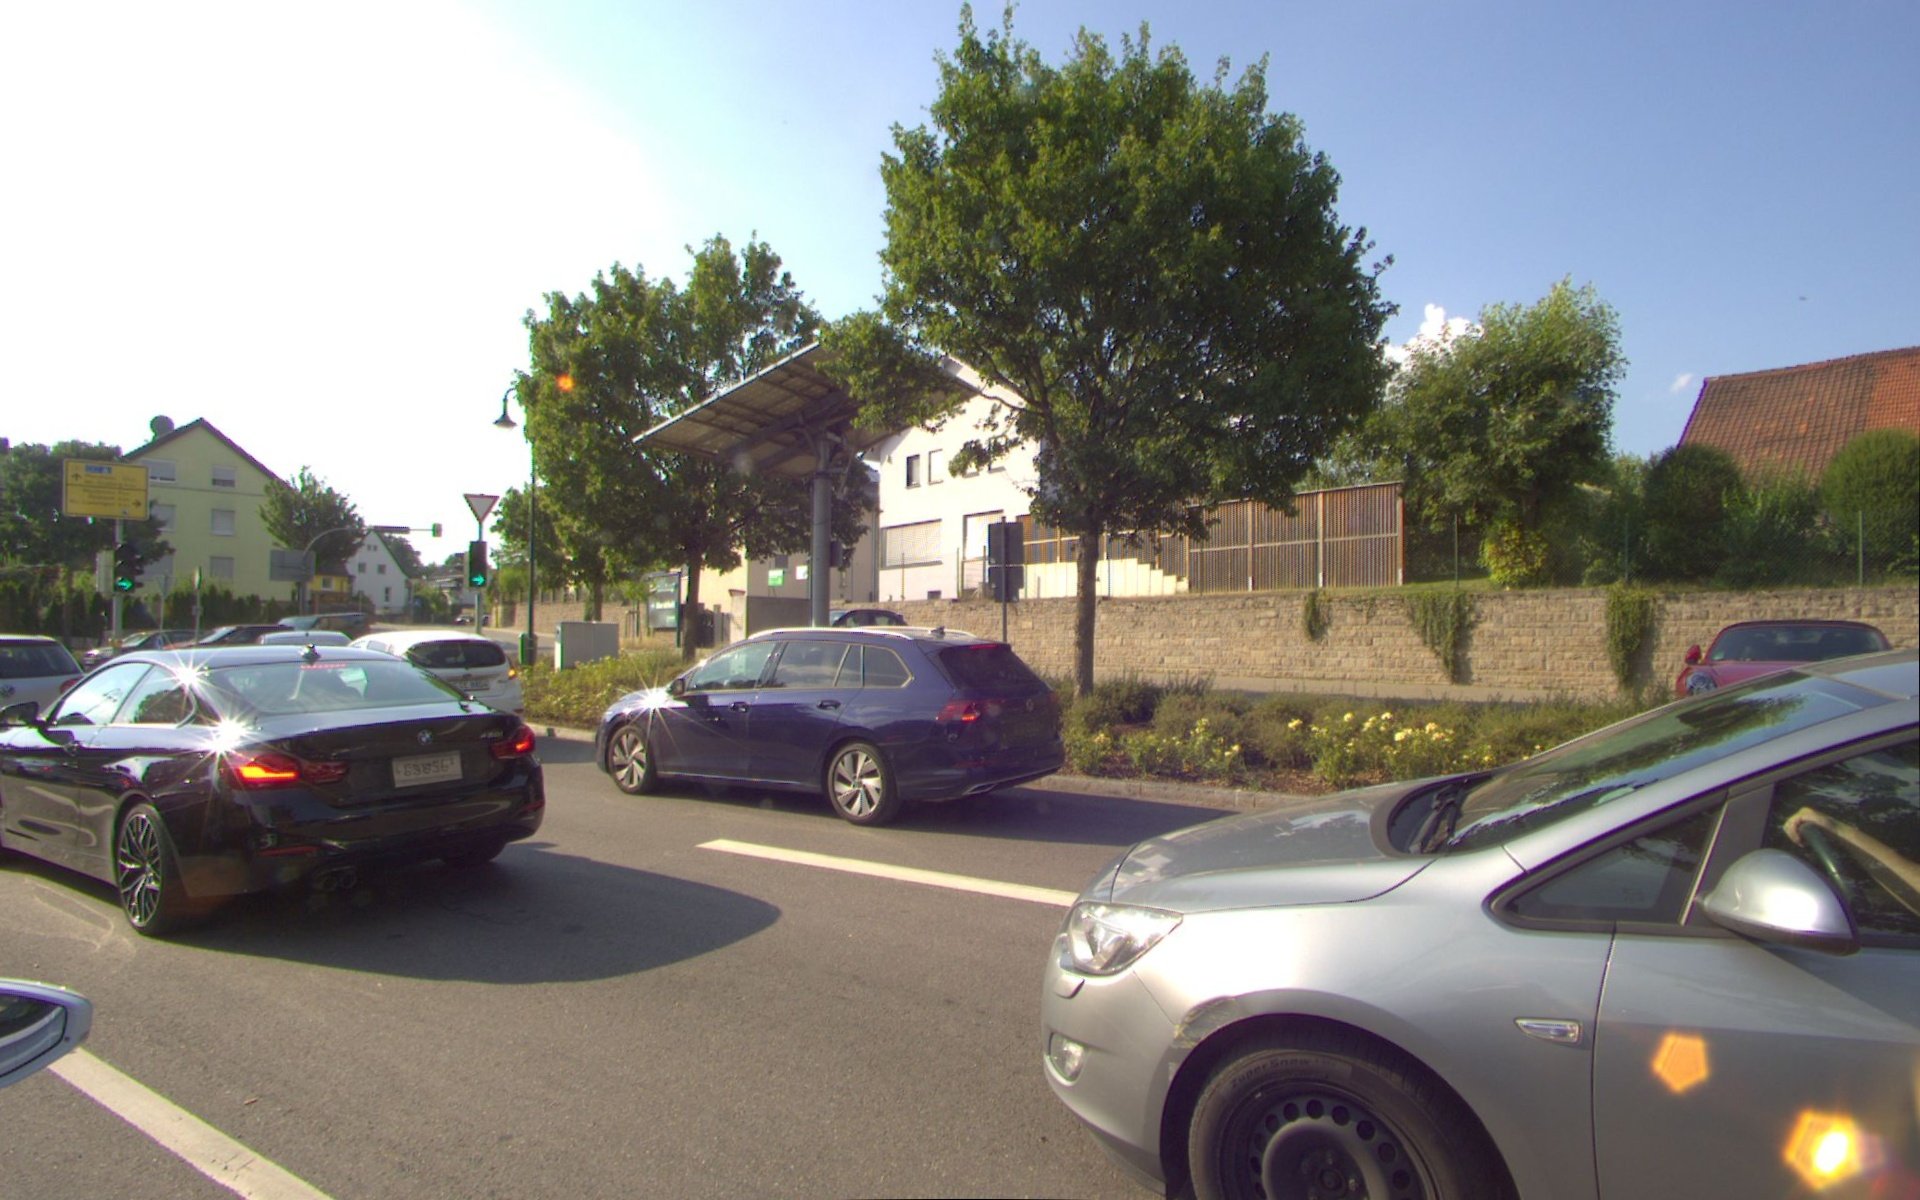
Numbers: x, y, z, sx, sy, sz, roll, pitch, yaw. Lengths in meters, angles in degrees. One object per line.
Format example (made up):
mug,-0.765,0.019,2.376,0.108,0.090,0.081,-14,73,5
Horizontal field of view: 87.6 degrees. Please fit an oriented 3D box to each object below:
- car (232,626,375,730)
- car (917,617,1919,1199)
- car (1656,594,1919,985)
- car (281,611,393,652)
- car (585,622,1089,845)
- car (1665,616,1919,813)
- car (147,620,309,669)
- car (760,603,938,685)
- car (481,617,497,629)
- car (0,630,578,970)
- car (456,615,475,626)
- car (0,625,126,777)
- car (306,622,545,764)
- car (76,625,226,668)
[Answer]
car,-11.782,1.271,17.842,1.643,1.562,4.362,-1,0,-40
car,2.159,0.783,2.171,4.256,1.472,1.758,-1,0,31
car,5.633,0.771,4.114,4.503,1.630,1.757,-1,0,34
car,-28.122,1.421,45.406,1.812,1.761,4.786,0,-2,4
car,-1.186,0.948,8.696,4.259,1.472,1.757,-1,0,34
car,8.211,0.951,9.755,1.758,1.510,4.120,-1,-2,41
car,-26.501,1.594,36.420,1.818,1.662,4.418,0,-2,25
car,-2.392,0.958,22.308,1.758,1.653,3.800,-1,-2,40
car,-67.927,3.321,144.425,1.939,1.701,4.202,0,-1,-23
car,-4.449,0.915,6.196,4.220,1.416,1.758,-1,0,33
car,-73.491,3.061,148.872,1.937,1.701,4.207,0,-1,-18
car,-10.820,1.012,10.789,3.848,1.444,1.758,-1,0,33
car,-6.932,1.080,12.898,3.278,1.562,1.611,-1,0,40
car,-30.087,1.714,37.374,1.821,1.508,3.983,-1,-2,30
